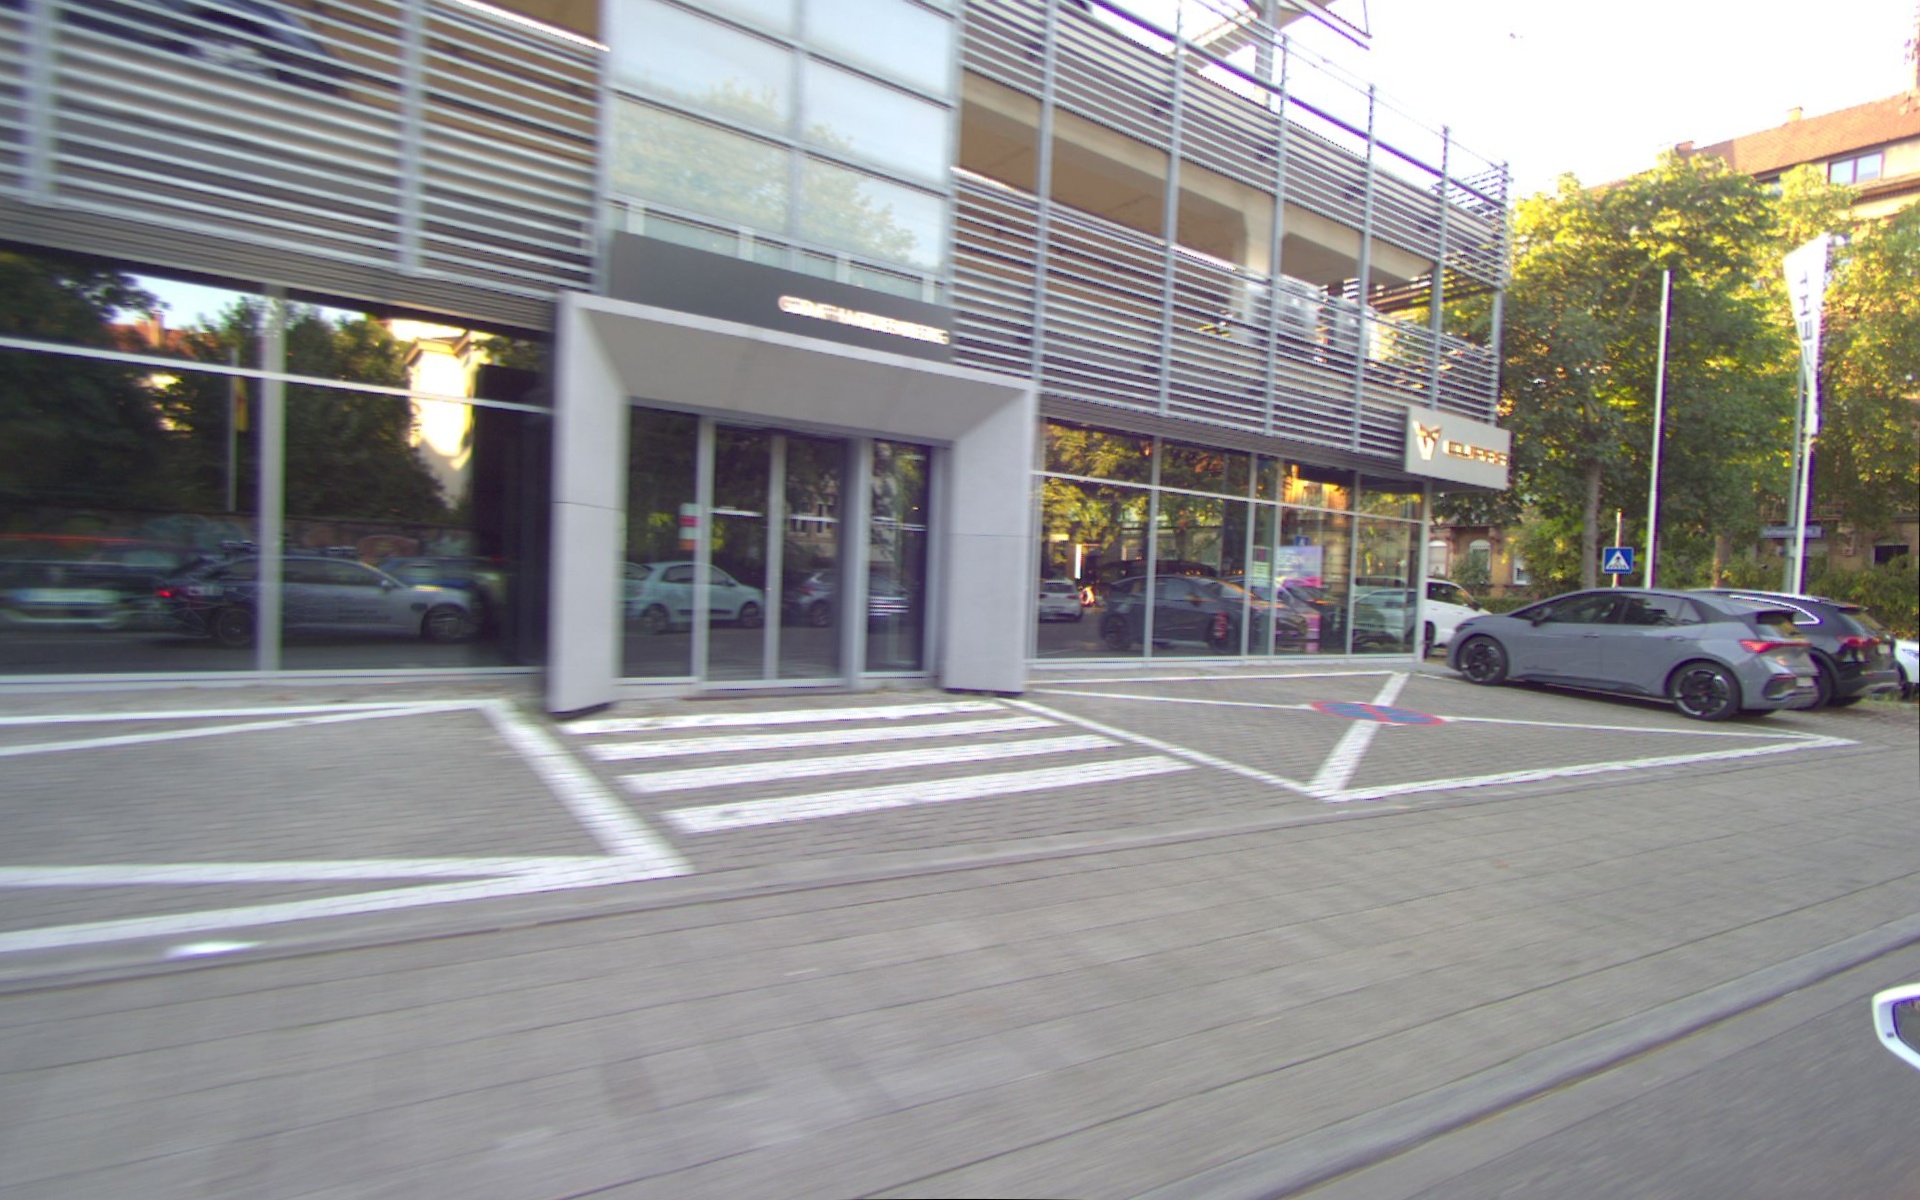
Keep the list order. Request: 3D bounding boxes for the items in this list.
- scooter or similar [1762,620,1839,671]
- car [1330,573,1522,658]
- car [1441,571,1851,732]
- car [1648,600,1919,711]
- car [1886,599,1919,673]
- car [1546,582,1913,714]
[{"bbox_3d":[22.375,1.205,26.763,1.493,1.241,0.444,3,2,37],"label":"scooter or similar"},{"bbox_3d":[9.732,0.328,20.874,4.181,1.571,1.691,2,2,-35],"label":"car"},{"bbox_3d":[9.014,0.542,13.593,1.891,1.640,4.107,0,4,-31],"label":"car"},{"bbox_3d":[15.002,0.887,17.932,1.900,1.495,4.020,0,4,-33],"label":"car"},{"bbox_3d":[24.984,0.994,23.314,1.901,1.756,4.796,0,3,-35],"label":"car"},{"bbox_3d":[11.465,0.600,15.277,1.745,1.640,4.045,0,2,-31],"label":"car"}]
